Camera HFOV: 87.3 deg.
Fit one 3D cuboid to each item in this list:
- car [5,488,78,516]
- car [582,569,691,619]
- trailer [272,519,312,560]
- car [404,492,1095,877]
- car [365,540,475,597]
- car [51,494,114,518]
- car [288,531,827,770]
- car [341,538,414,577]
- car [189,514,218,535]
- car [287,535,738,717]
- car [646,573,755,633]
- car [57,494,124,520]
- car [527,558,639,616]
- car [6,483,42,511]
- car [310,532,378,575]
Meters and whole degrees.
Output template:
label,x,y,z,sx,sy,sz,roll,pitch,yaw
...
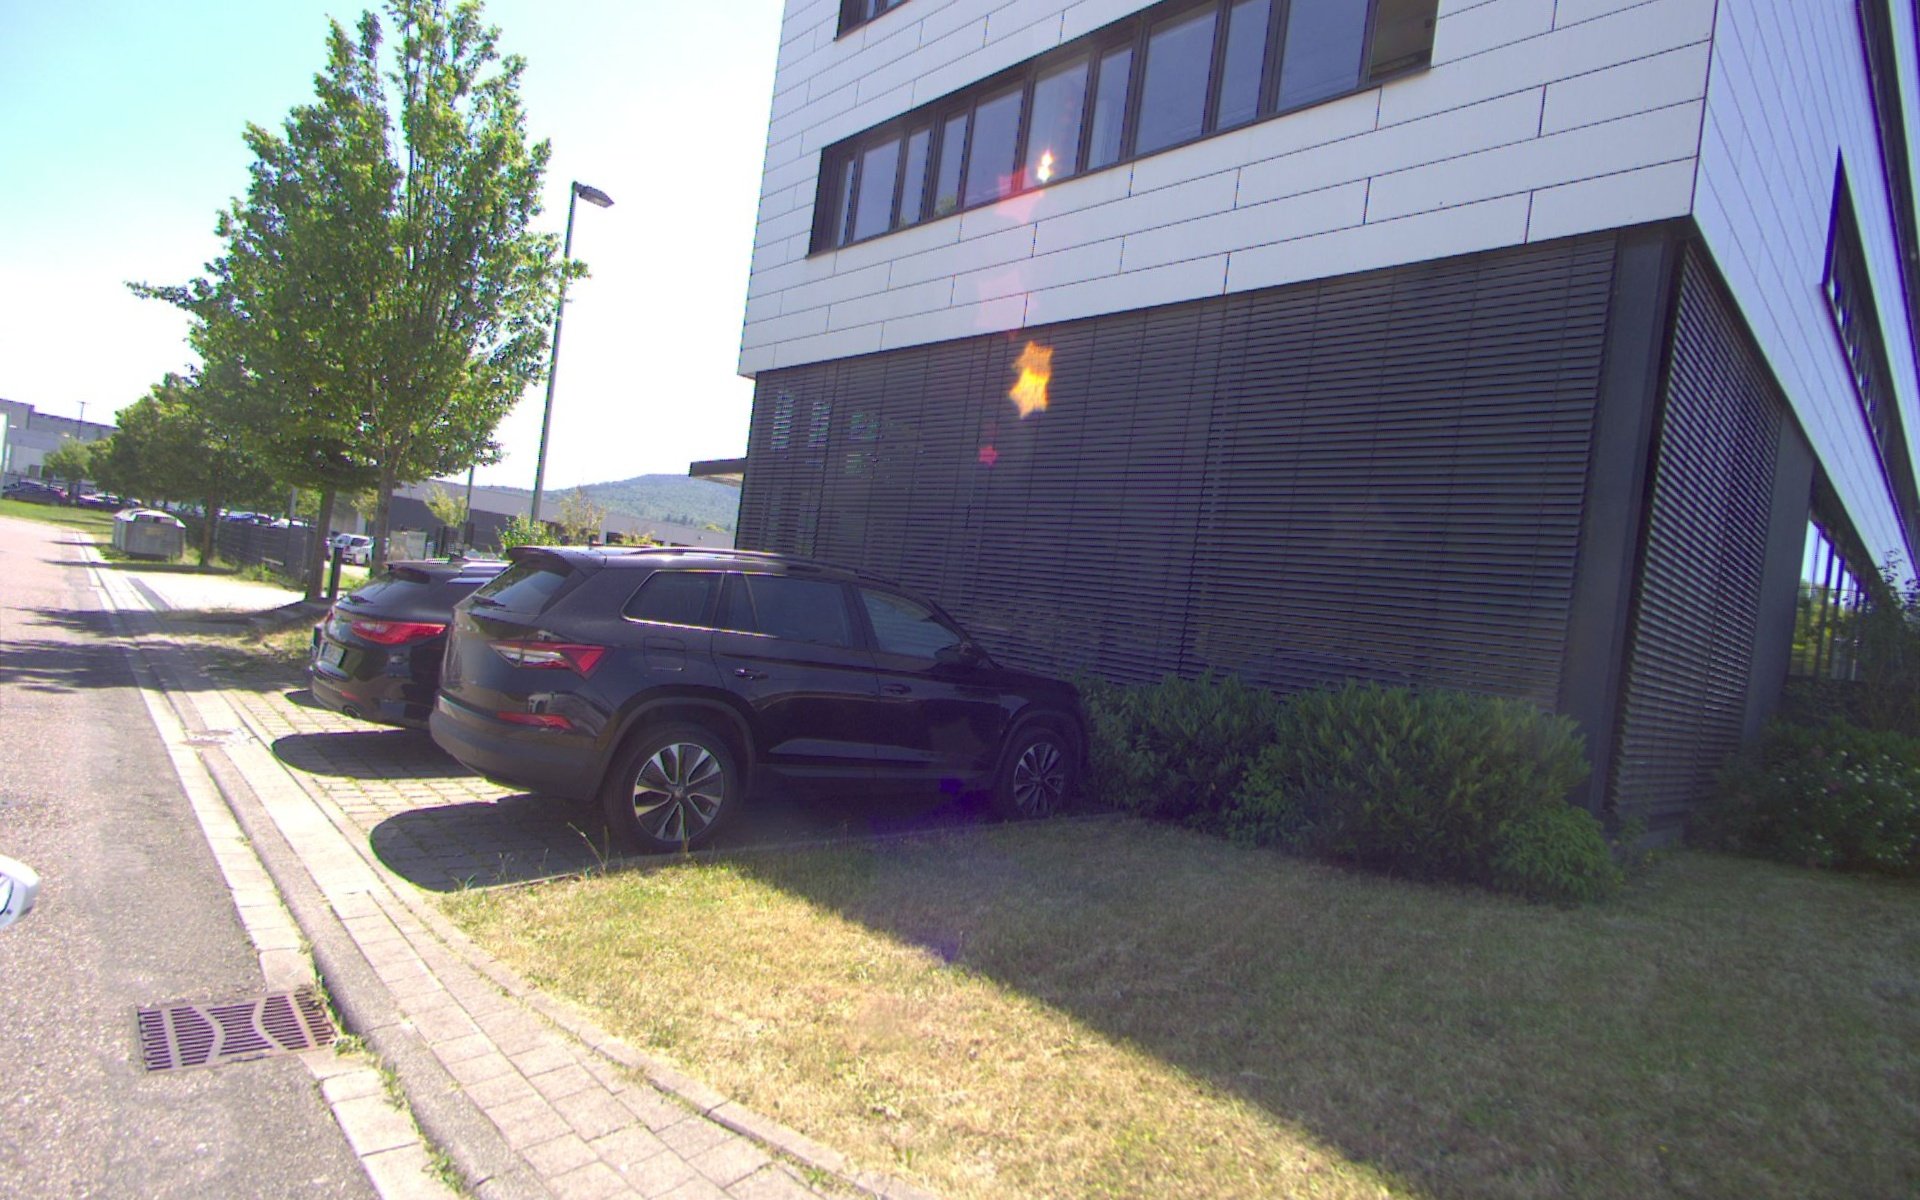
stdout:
label,x,y,z,sx,sy,sz,roll,pitch,yaw
car,-70.377,-7.470,77.083,3.977,1.414,1.976,9,-3,-44
car,-11.962,-0.258,37.056,1.835,1.449,4.593,8,-3,-44
trailer,-40.558,-3.689,61.084,1.487,2.032,3.225,7,2,-40
car,-1.168,0.538,6.589,3.970,1.787,1.706,7,-1,-40
car,-17.095,-1.022,31.743,1.785,1.471,4.356,8,-3,-44
car,-77.514,-8.274,88.876,3.977,1.414,1.976,9,-3,-44
car,-3.190,0.454,8.422,3.702,1.513,1.759,7,-1,-45
car,-26.436,-1.952,45.611,1.785,1.449,4.092,8,-3,-44
car,-82.374,-8.175,109.500,1.987,1.848,3.954,8,-3,-42
car,-4.601,0.350,10.745,1.703,1.513,3.976,6,-1,45
car,-9.993,0.080,38.562,1.907,1.921,4.461,8,-3,-44
car,-71.492,-7.625,82.774,3.977,1.414,1.976,9,-3,-44
car,-13.217,-0.491,35.123,1.835,1.672,4.593,8,-3,-44
car,-77.927,-8.569,83.755,1.989,1.848,3.951,8,-3,-44
car,-30.162,-2.315,49.188,1.785,1.550,4.365,8,0,-44
